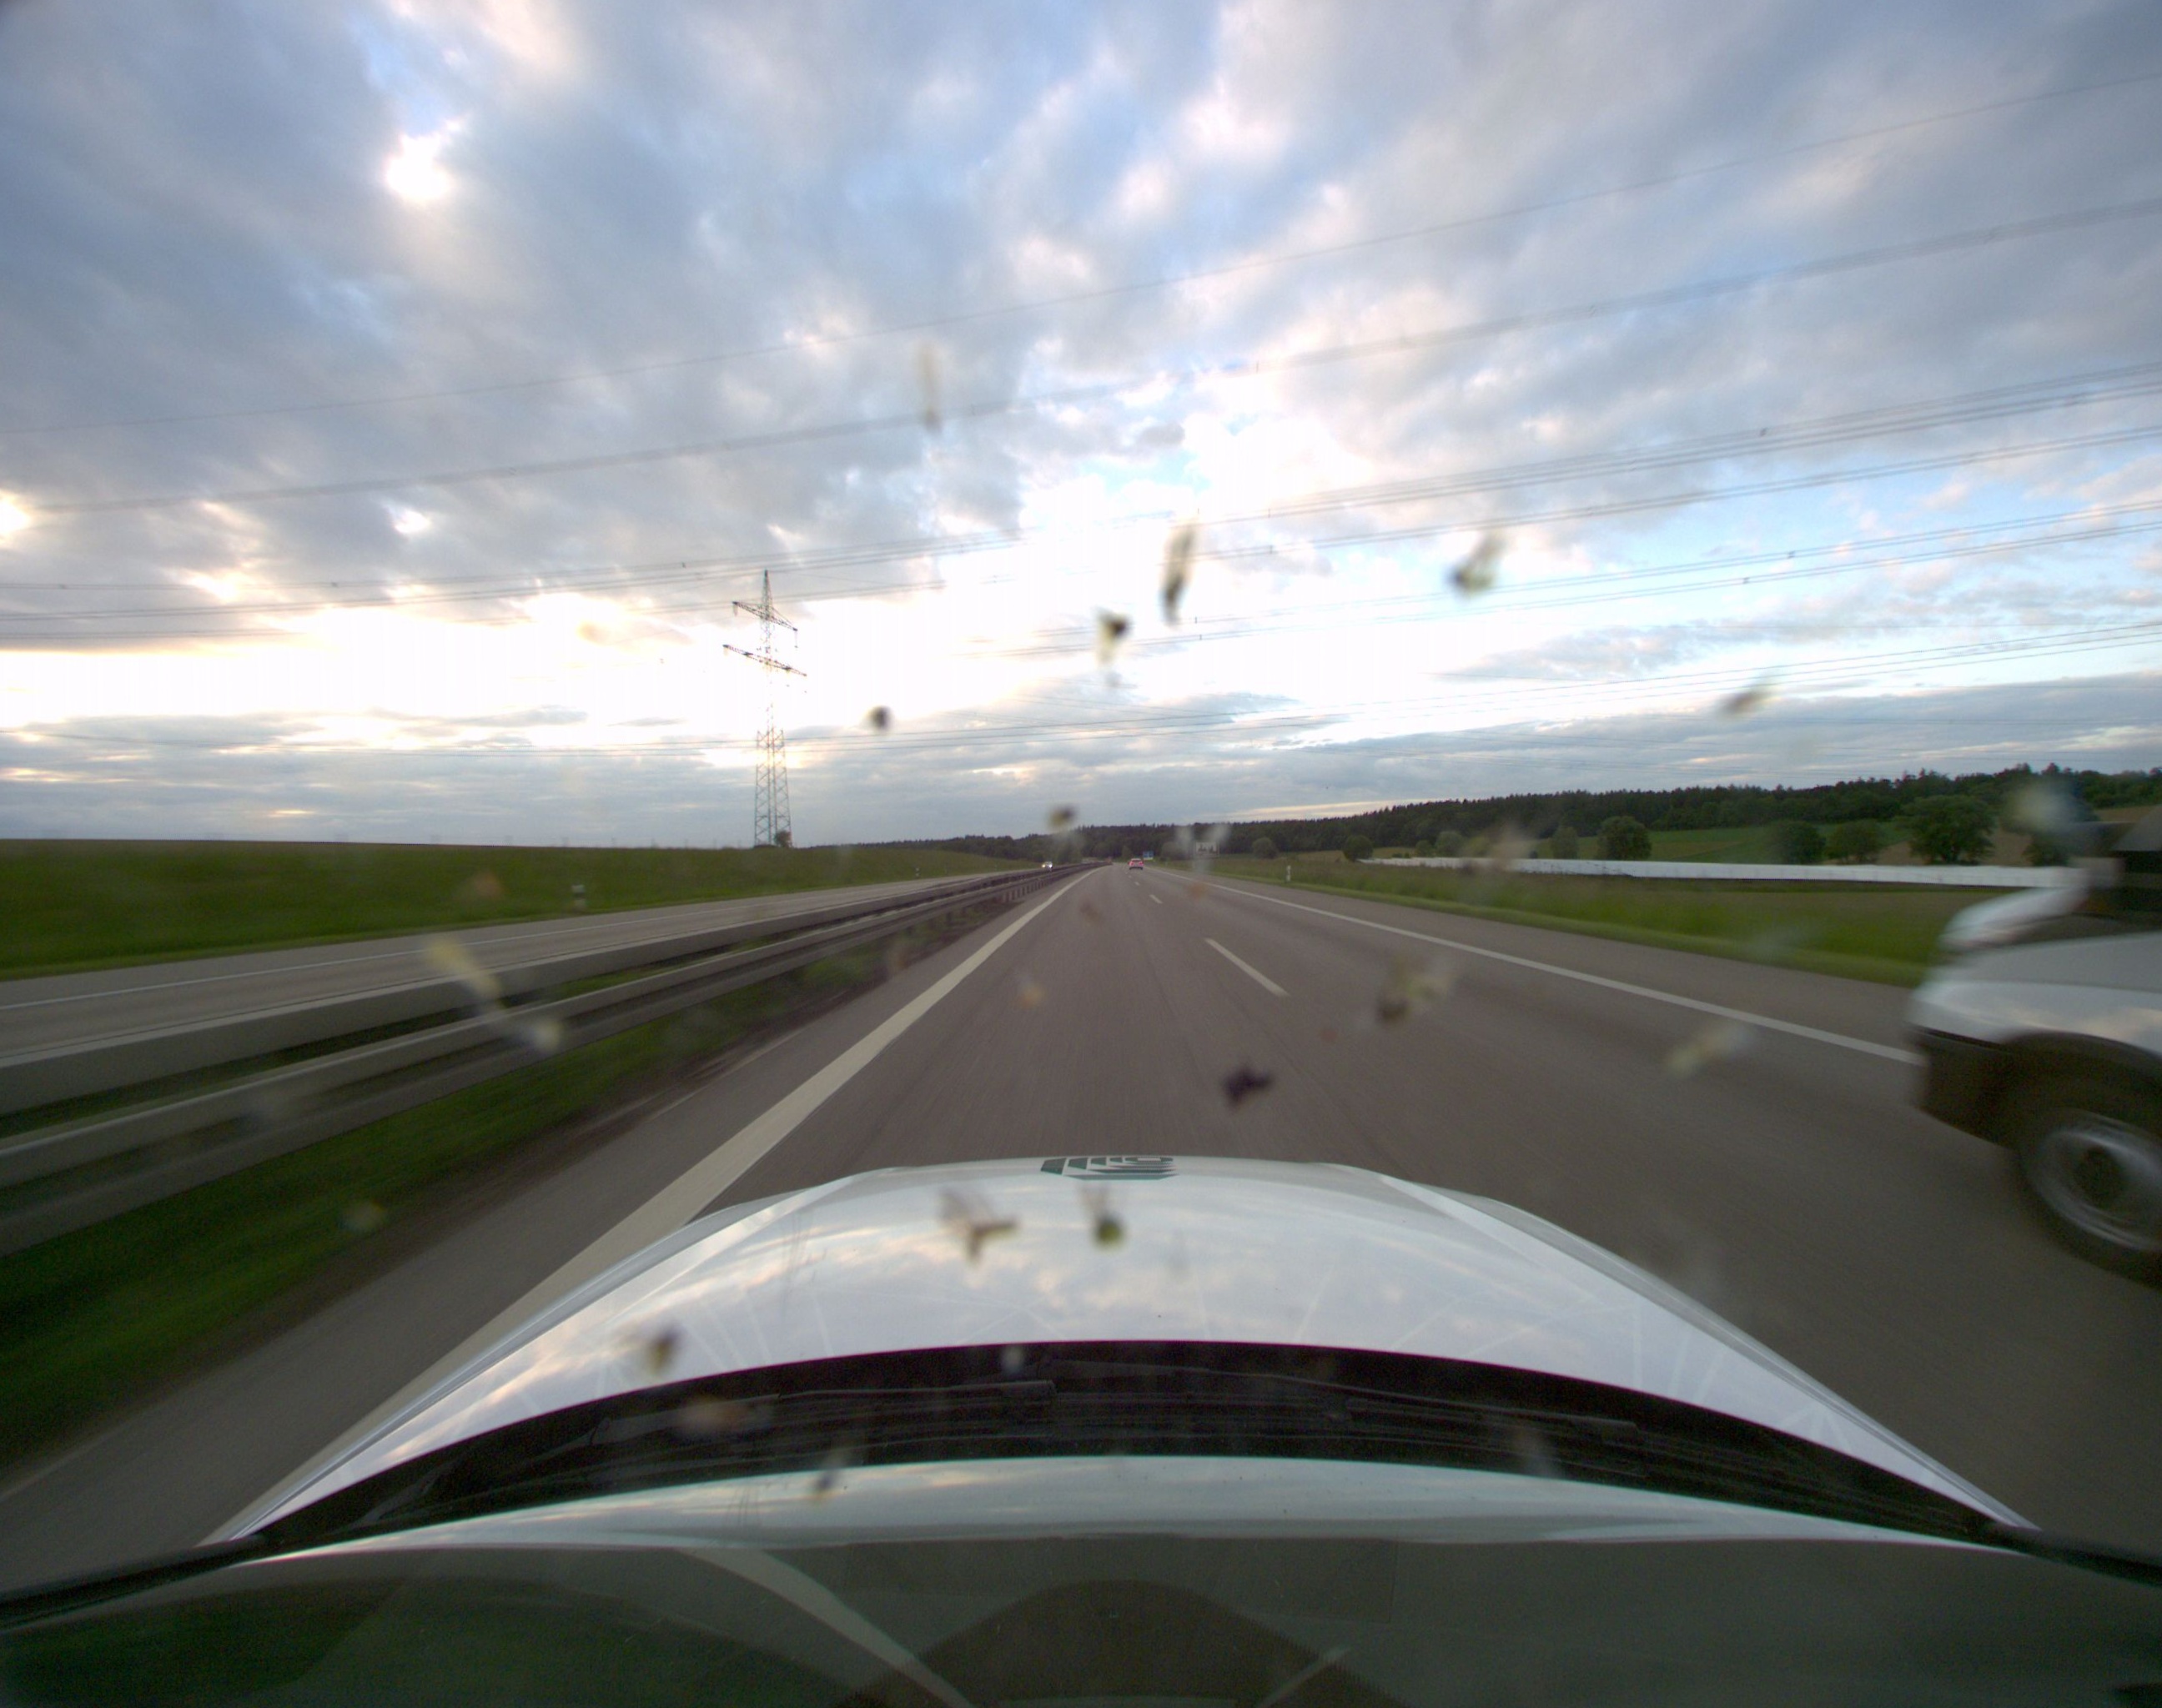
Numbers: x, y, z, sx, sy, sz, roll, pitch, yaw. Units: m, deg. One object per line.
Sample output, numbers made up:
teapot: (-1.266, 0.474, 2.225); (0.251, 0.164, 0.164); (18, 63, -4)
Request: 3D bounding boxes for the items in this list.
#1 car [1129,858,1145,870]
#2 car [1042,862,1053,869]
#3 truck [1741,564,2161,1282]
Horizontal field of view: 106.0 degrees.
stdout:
car: (7.450, 1.307, 109.256); (1.945, 1.531, 4.081); (0, 0, 1)
car: (-6.713, 2.266, 162.713); (1.758, 1.482, 5.338); (0, 0, 3)
truck: (4.581, 0.221, 0.575); (2.164, 2.360, 7.698); (0, 0, 1)
